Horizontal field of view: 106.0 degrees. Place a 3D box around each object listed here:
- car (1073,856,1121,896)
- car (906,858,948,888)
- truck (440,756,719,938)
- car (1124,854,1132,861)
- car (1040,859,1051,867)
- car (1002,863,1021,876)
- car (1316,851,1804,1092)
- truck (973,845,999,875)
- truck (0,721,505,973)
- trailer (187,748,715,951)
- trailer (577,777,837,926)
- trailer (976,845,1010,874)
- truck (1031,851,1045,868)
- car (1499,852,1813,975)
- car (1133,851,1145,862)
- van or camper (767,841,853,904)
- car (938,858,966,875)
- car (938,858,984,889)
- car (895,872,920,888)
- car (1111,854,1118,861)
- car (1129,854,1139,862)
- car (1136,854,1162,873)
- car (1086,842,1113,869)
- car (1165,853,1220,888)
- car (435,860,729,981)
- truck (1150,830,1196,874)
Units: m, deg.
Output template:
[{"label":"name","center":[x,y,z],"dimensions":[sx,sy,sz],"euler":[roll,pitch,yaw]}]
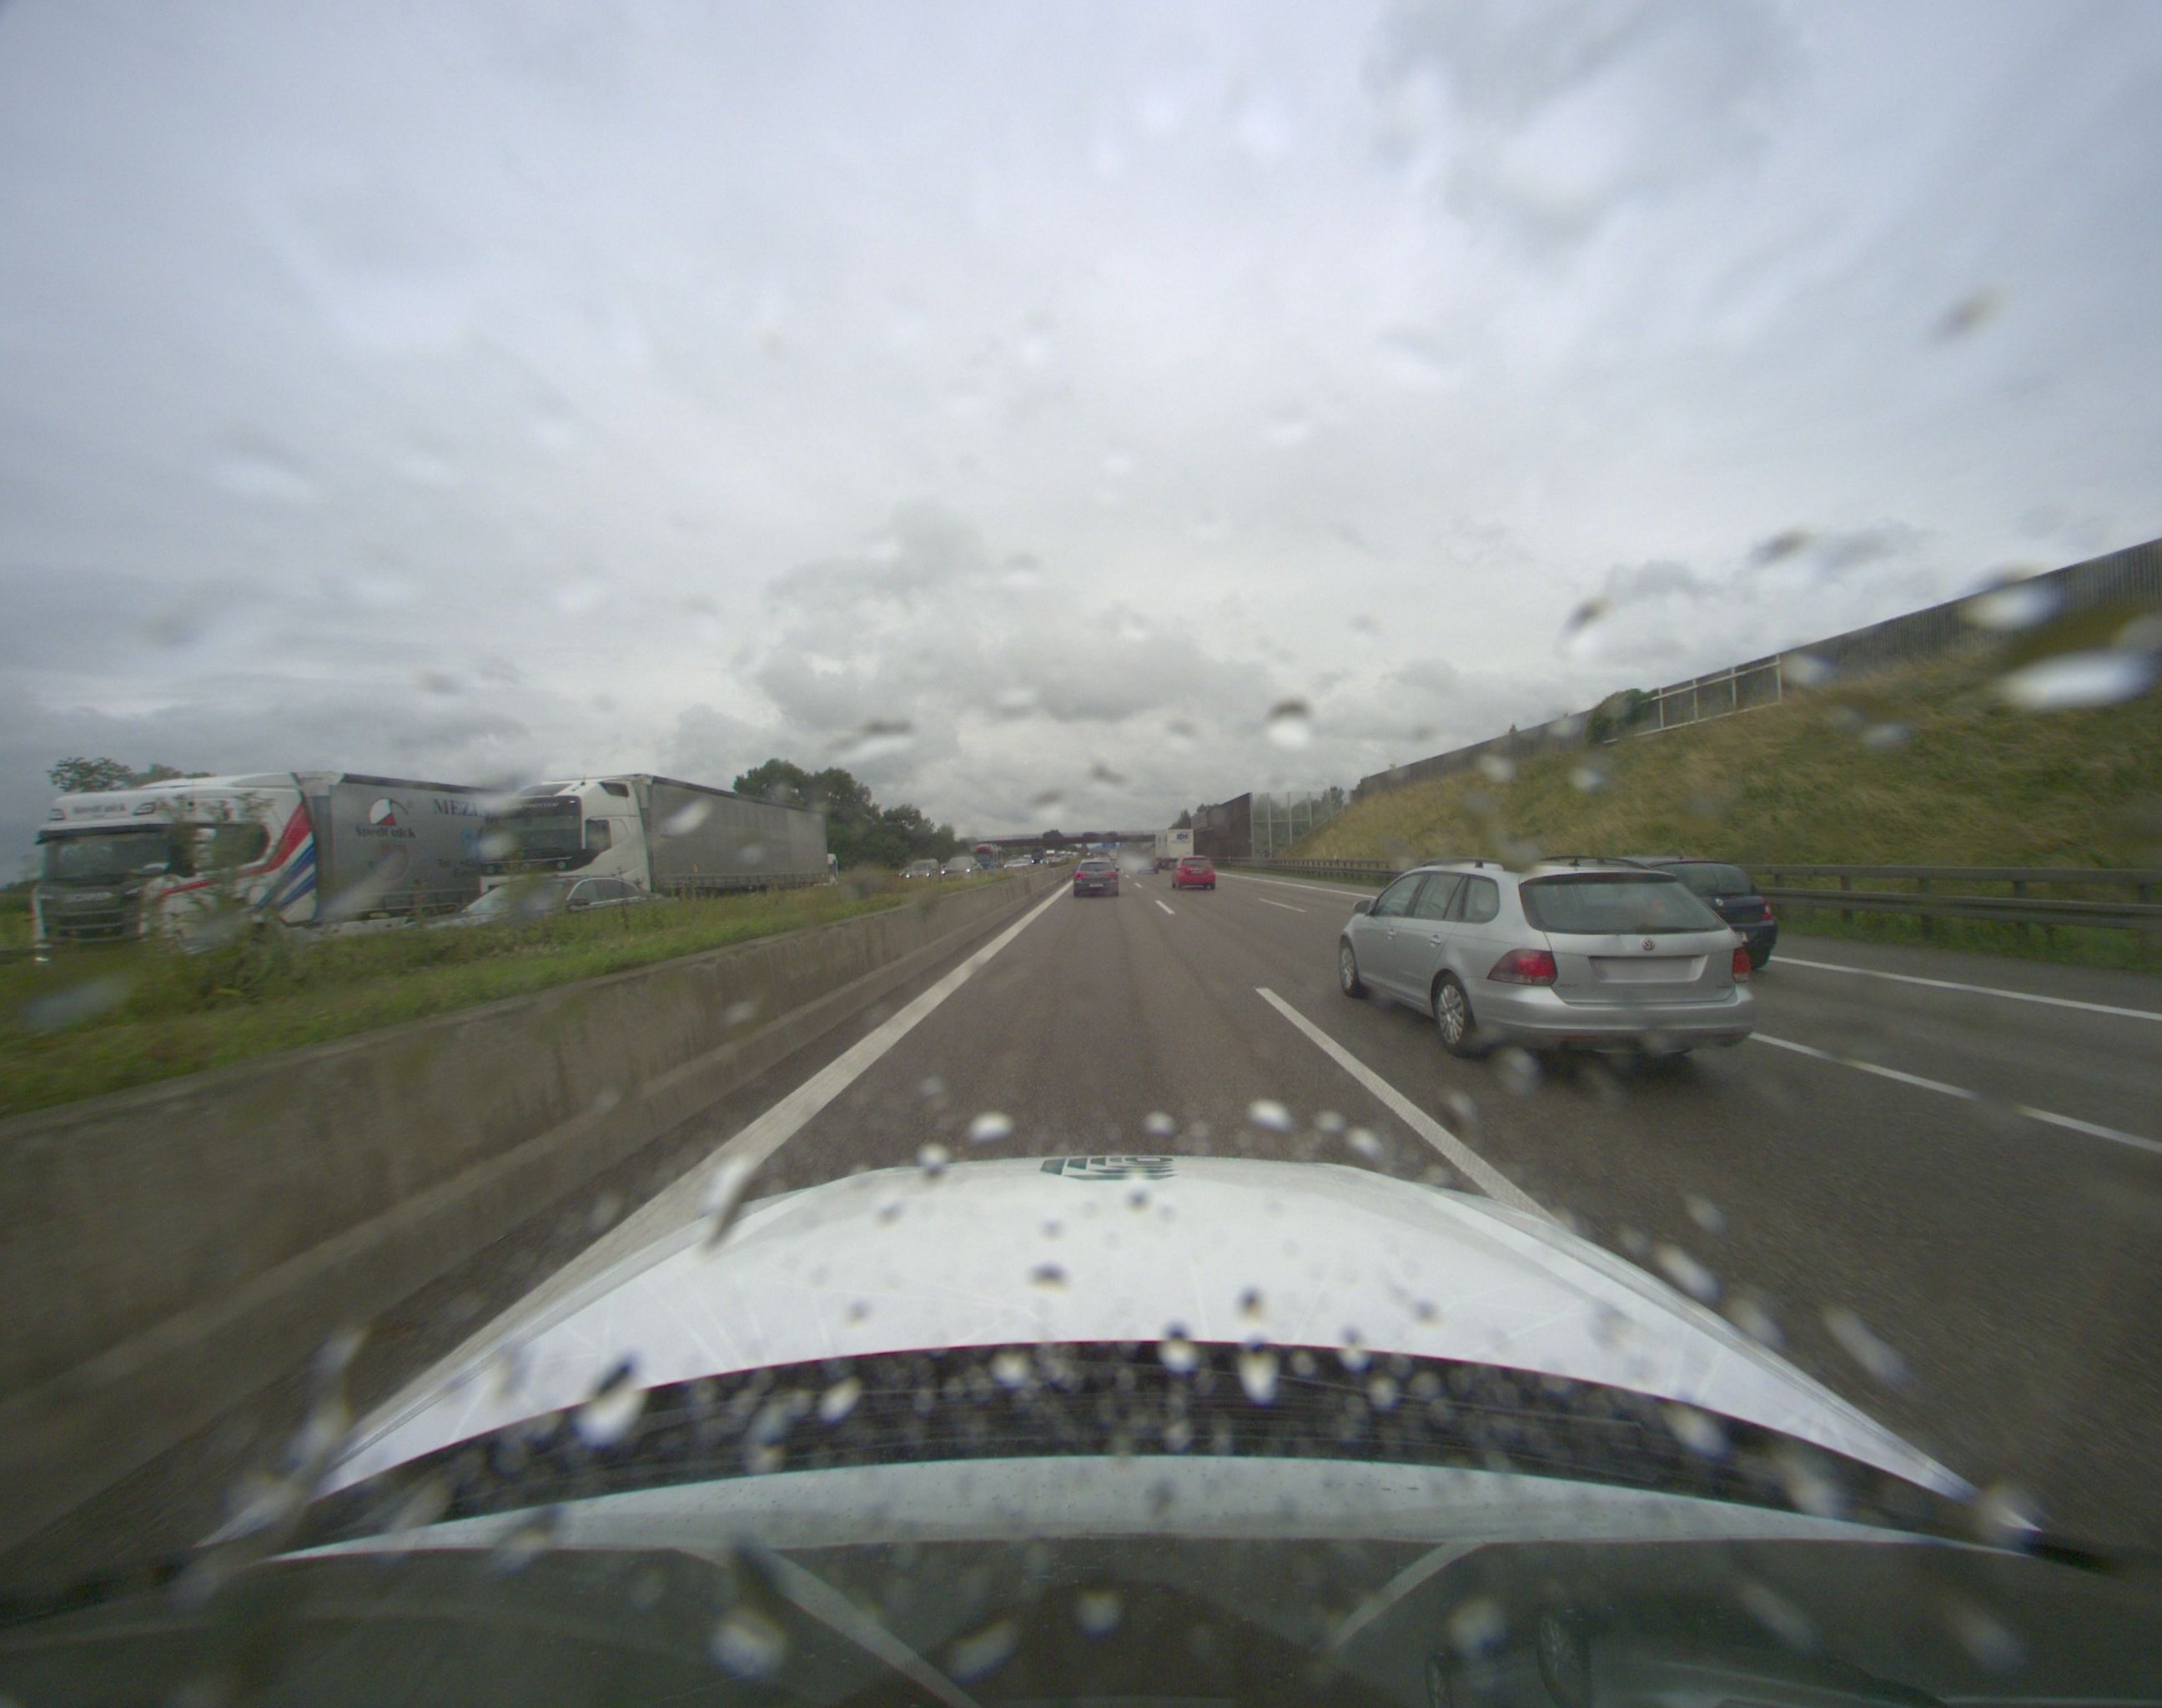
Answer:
[{"label":"car","center":[0.621,0.828,32.149],"dimensions":[1.762,1.467,4.000],"euler":[0,-1,1]},{"label":"car","center":[-10.951,1.315,58.265],"dimensions":[1.876,1.924,5.279],"euler":[-2,0,1]},{"label":"truck","center":[-12.391,-0.119,21.022],"dimensions":[3.081,3.976,6.374],"euler":[0,-1,2]},{"label":"car","center":[13.037,0.865,225.390],"dimensions":[1.986,1.812,4.229],"euler":[-3,0,2]},{"label":"car","center":[-7.820,1.937,180.398],"dimensions":[2.085,1.710,4.803],"euler":[-1,0,2]},{"label":"car","center":[-10.046,2.172,118.066],"dimensions":[2.086,1.710,5.165],"euler":[-1,0,1]},{"label":"car","center":[3.589,0.728,7.256],"dimensions":[1.735,1.425,4.518],"euler":[-2,0,1]},{"label":"truck","center":[-13.722,0.899,117.840],"dimensions":[2.946,4.242,6.236],"euler":[0,-1,1]},{"label":"truck","center":[-17.103,-0.079,17.659],"dimensions":[3.602,4.275,7.594],"euler":[0,-1,2]},{"label":"trailer","center":[-16.876,-0.021,25.090],"dimensions":[3.699,4.271,15.629],"euler":[0,-1,2]},{"label":"trailer","center":[-12.140,-0.012,28.559],"dimensions":[3.074,4.089,12.334],"euler":[0,-1,2]},{"label":"trailer","center":[-13.437,0.867,125.968],"dimensions":[2.987,4.242,15.713],"euler":[0,-1,2]},{"label":"truck","center":[-10.720,1.384,203.417],"dimensions":[2.747,4.050,6.257],"euler":[0,-1,2]},{"label":"car","center":[7.645,0.707,11.354],"dimensions":[1.696,1.401,3.876],"euler":[0,-1,1]},{"label":"car","center":[10.768,0.541,151.282],"dimensions":[1.986,2.014,4.001],"euler":[0,-1,2]},{"label":"van or camper","center":[-16.284,1.096,49.500],"dimensions":[2.700,3.503,7.697],"euler":[0,-1,-1]},{"label":"car","center":[-14.138,1.369,89.369],"dimensions":[2.085,1.710,4.803],"euler":[-1,0,2]},{"label":"car","center":[-7.509,1.187,51.499],"dimensions":[1.986,1.764,5.073],"euler":[-3,0,1]},{"label":"car","center":[-18.538,2.752,87.178],"dimensions":[1.878,1.595,3.999],"euler":[0,-1,0]},{"label":"car","center":[9.827,1.144,238.752],"dimensions":[1.986,2.014,4.243],"euler":[0,-1,2]},{"label":"car","center":[10.900,0.796,166.822],"dimensions":[1.839,1.687,4.000],"euler":[0,-1,1]},{"label":"car","center":[5.776,0.814,69.465],"dimensions":[1.914,1.522,4.623],"euler":[-1,0,1]},{"label":"car","center":[1.349,0.128,59.338],"dimensions":[1.819,1.850,4.001],"euler":[-2,0,1]},{"label":"car","center":[5.031,0.721,37.337],"dimensions":[1.884,1.446,4.685],"euler":[-1,0,0]},{"label":"car","center":[-8.498,1.012,14.560],"dimensions":[2.085,1.710,4.803],"euler":[-1,0,2]},{"label":"truck","center":[9.809,-0.130,89.155],"dimensions":[3.271,4.295,19.036],"euler":[0,-1,1]}]
